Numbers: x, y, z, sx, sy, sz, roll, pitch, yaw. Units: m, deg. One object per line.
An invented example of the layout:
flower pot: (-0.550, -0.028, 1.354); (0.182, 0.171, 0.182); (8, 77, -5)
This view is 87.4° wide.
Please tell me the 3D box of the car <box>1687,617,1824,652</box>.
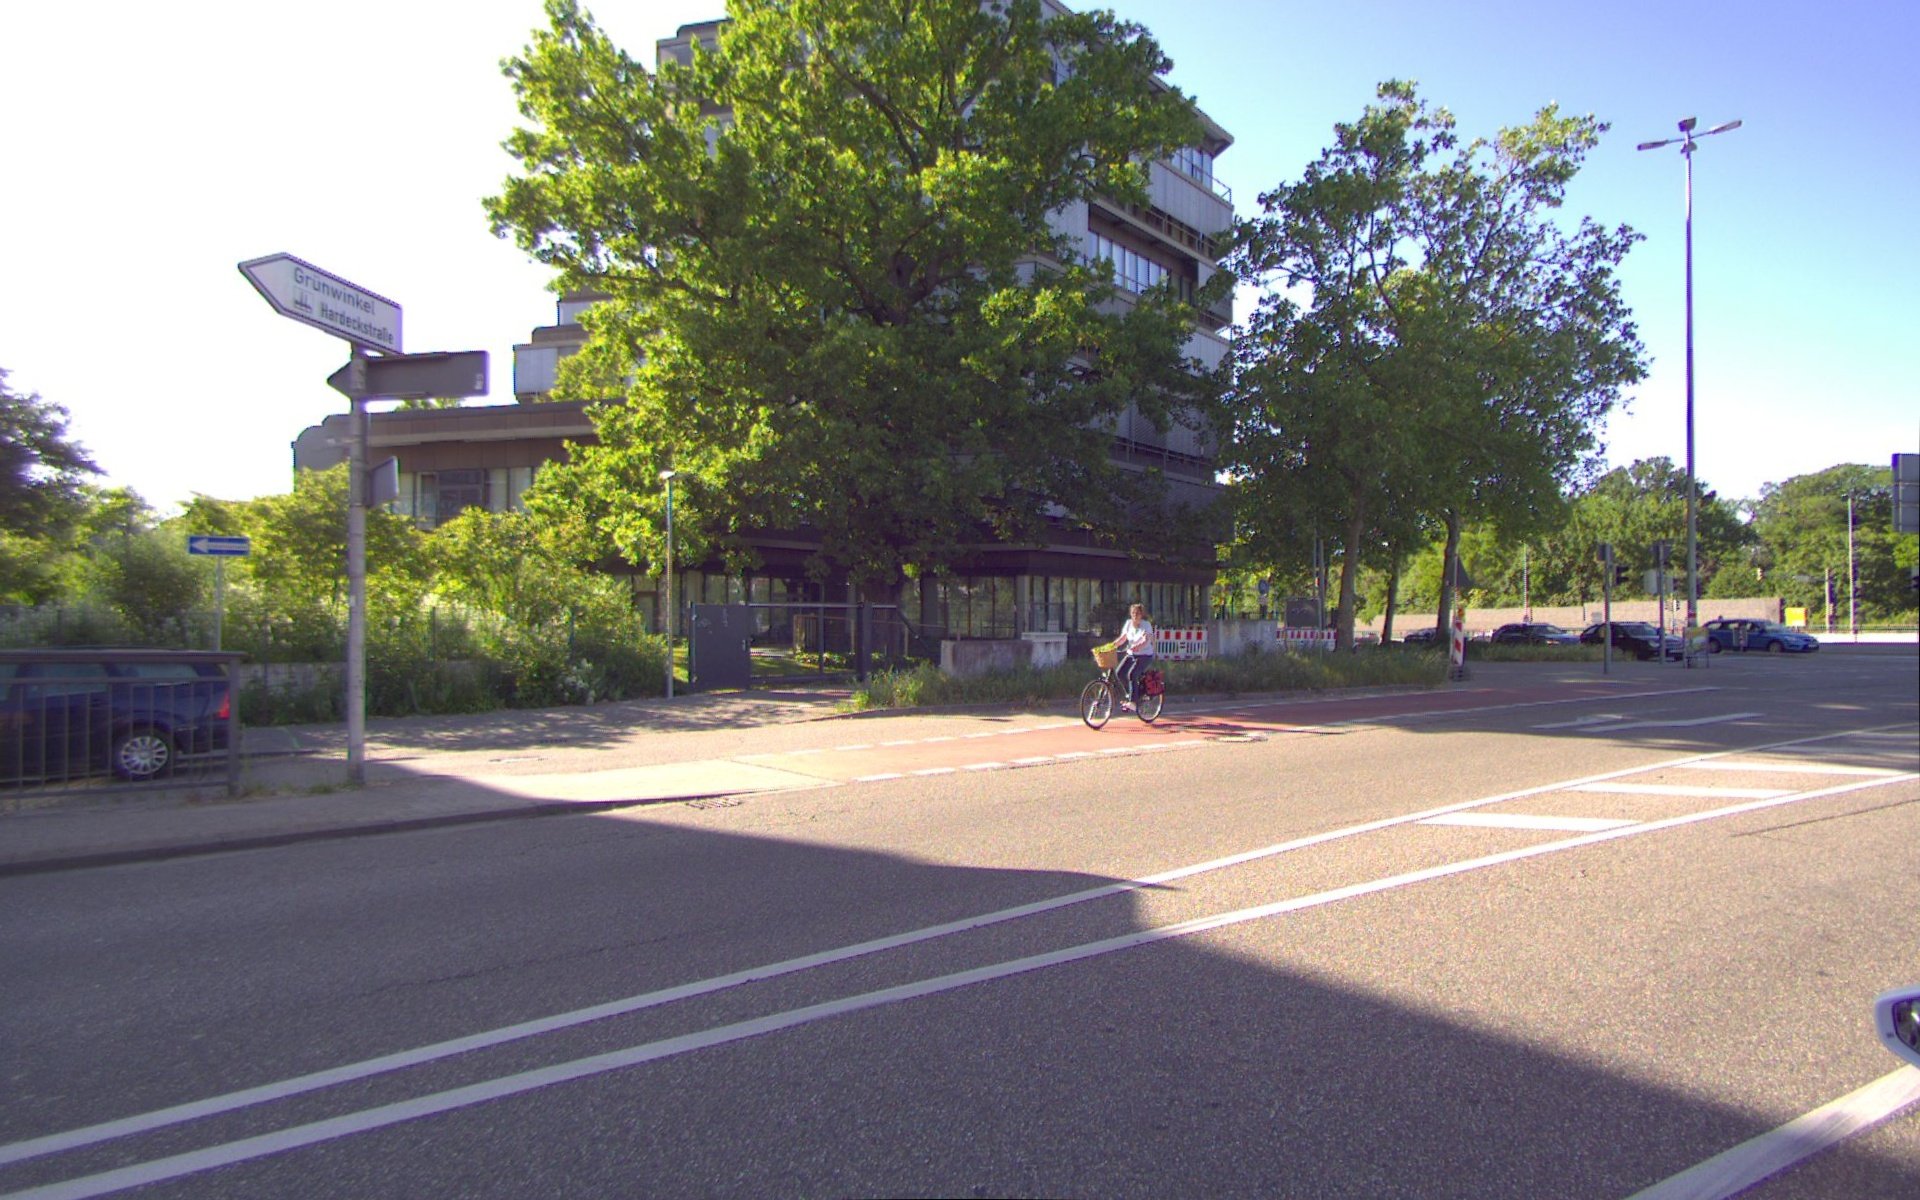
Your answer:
car: (34.258, 1.476, 43.408); (1.796, 1.457, 4.436); (0, -2, -17)

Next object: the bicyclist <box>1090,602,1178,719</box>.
bicyclist: (2.650, 0.902, 15.303); (1.185, 1.723, 0.683); (1, -1, -32)

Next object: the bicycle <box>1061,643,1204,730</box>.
bicycle: (2.646, 1.274, 15.293); (2.301, 1.218, 0.683); (1, -2, -33)

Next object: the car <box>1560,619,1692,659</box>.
car: (25.584, 1.479, 38.813); (1.792, 1.457, 4.446); (0, -2, -7)

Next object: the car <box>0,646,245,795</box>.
car: (-10.757, 1.320, 11.249); (4.411, 1.523, 1.806); (1, -2, -38)

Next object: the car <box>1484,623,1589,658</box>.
car: (25.876, 1.806, 45.295); (1.792, 1.457, 4.446); (0, -2, -7)
